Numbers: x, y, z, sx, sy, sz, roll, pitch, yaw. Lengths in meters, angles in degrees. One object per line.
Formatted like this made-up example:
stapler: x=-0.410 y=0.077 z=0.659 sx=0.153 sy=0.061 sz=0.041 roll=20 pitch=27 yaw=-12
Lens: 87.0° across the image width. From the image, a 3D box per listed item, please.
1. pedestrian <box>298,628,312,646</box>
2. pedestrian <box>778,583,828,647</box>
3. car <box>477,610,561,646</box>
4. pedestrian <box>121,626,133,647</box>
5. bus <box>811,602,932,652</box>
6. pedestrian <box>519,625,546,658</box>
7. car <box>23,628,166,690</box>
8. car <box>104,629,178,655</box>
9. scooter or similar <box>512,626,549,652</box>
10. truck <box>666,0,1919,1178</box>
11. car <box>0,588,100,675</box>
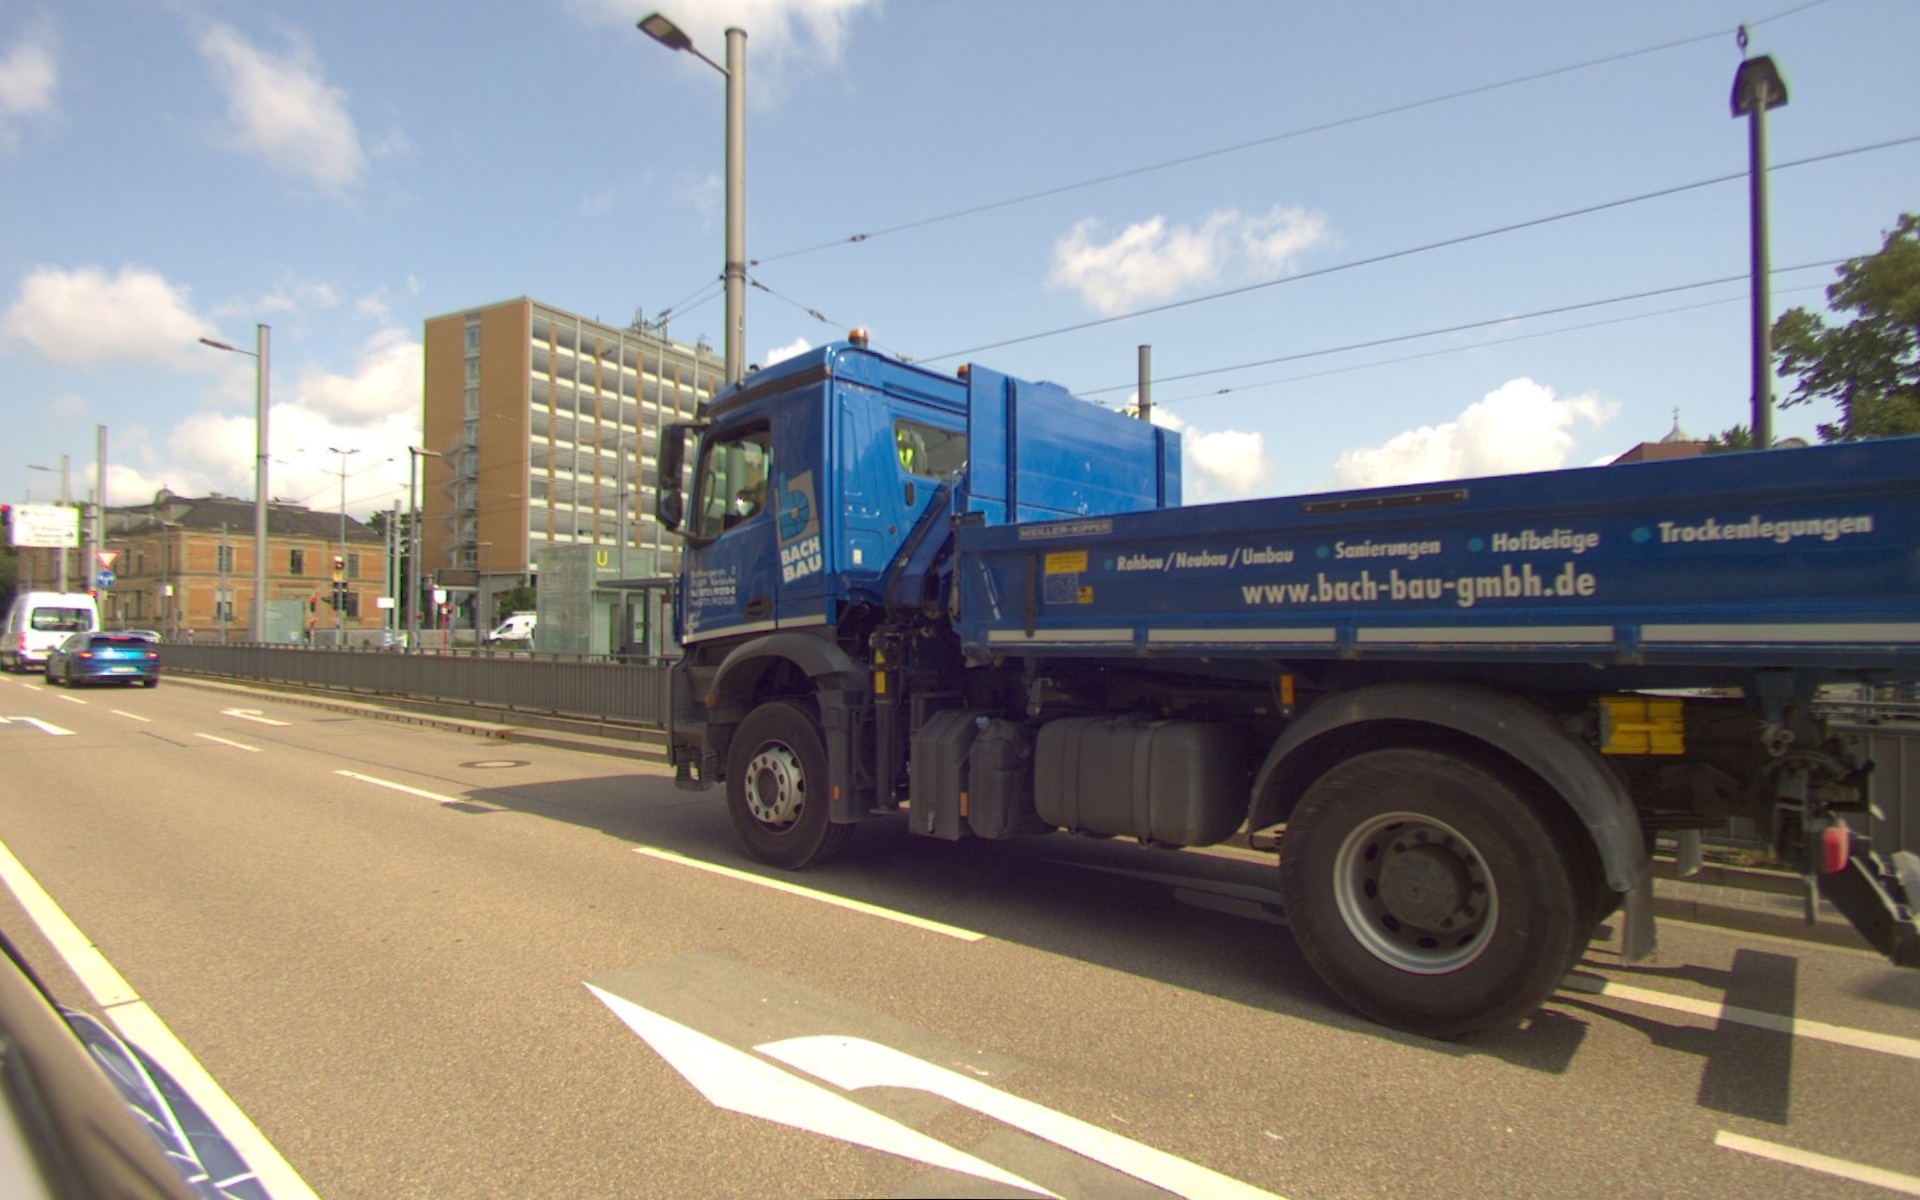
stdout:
pedestrian: x=-57.781 y=3.233 z=89.278 sx=0.753 sy=1.600 sz=0.773 roll=0 pitch=-2 yaw=-4
pedestrian: x=-4.576 y=0.452 z=29.542 sx=0.985 sy=1.813 sz=1.047 roll=0 pitch=-3 yaw=-43
car: x=-36.963 y=2.368 z=84.834 sx=6.048 sy=2.901 sz=2.492 roll=1 pitch=-2 yaw=-36
pedestrian: x=-69.770 y=3.039 z=84.777 sx=0.771 sy=1.750 sz=0.861 roll=2 pitch=-2 yaw=-39
bus: x=-5.244 y=1.609 z=60.071 sx=6.991 sy=2.855 sz=2.703 roll=0 pitch=-2 yaw=-5
pedestrian: x=-22.494 y=2.173 z=53.251 sx=1.080 sy=1.702 sz=0.931 roll=-1 pitch=-1 yaw=-8
car: x=-22.560 y=1.505 z=26.323 sx=4.547 sy=1.466 sz=1.832 roll=-2 pitch=-4 yaw=37
car: x=-61.941 y=3.169 z=76.615 sx=4.069 sy=1.785 sz=2.007 roll=1 pitch=2 yaw=-30
scooter or similar: x=-22.696 y=2.038 z=53.458 sx=1.495 sy=1.198 sz=1.320 roll=4 pitch=3 yaw=43
truck: x=1.601 y=-0.192 z=5.329 sx=7.446 sy=3.676 sz=2.437 roll=-1 pitch=-2 yaw=41
car: x=-30.259 y=1.054 z=33.321 sx=5.576 sy=2.642 sz=1.973 roll=-1 pitch=-4 yaw=41
